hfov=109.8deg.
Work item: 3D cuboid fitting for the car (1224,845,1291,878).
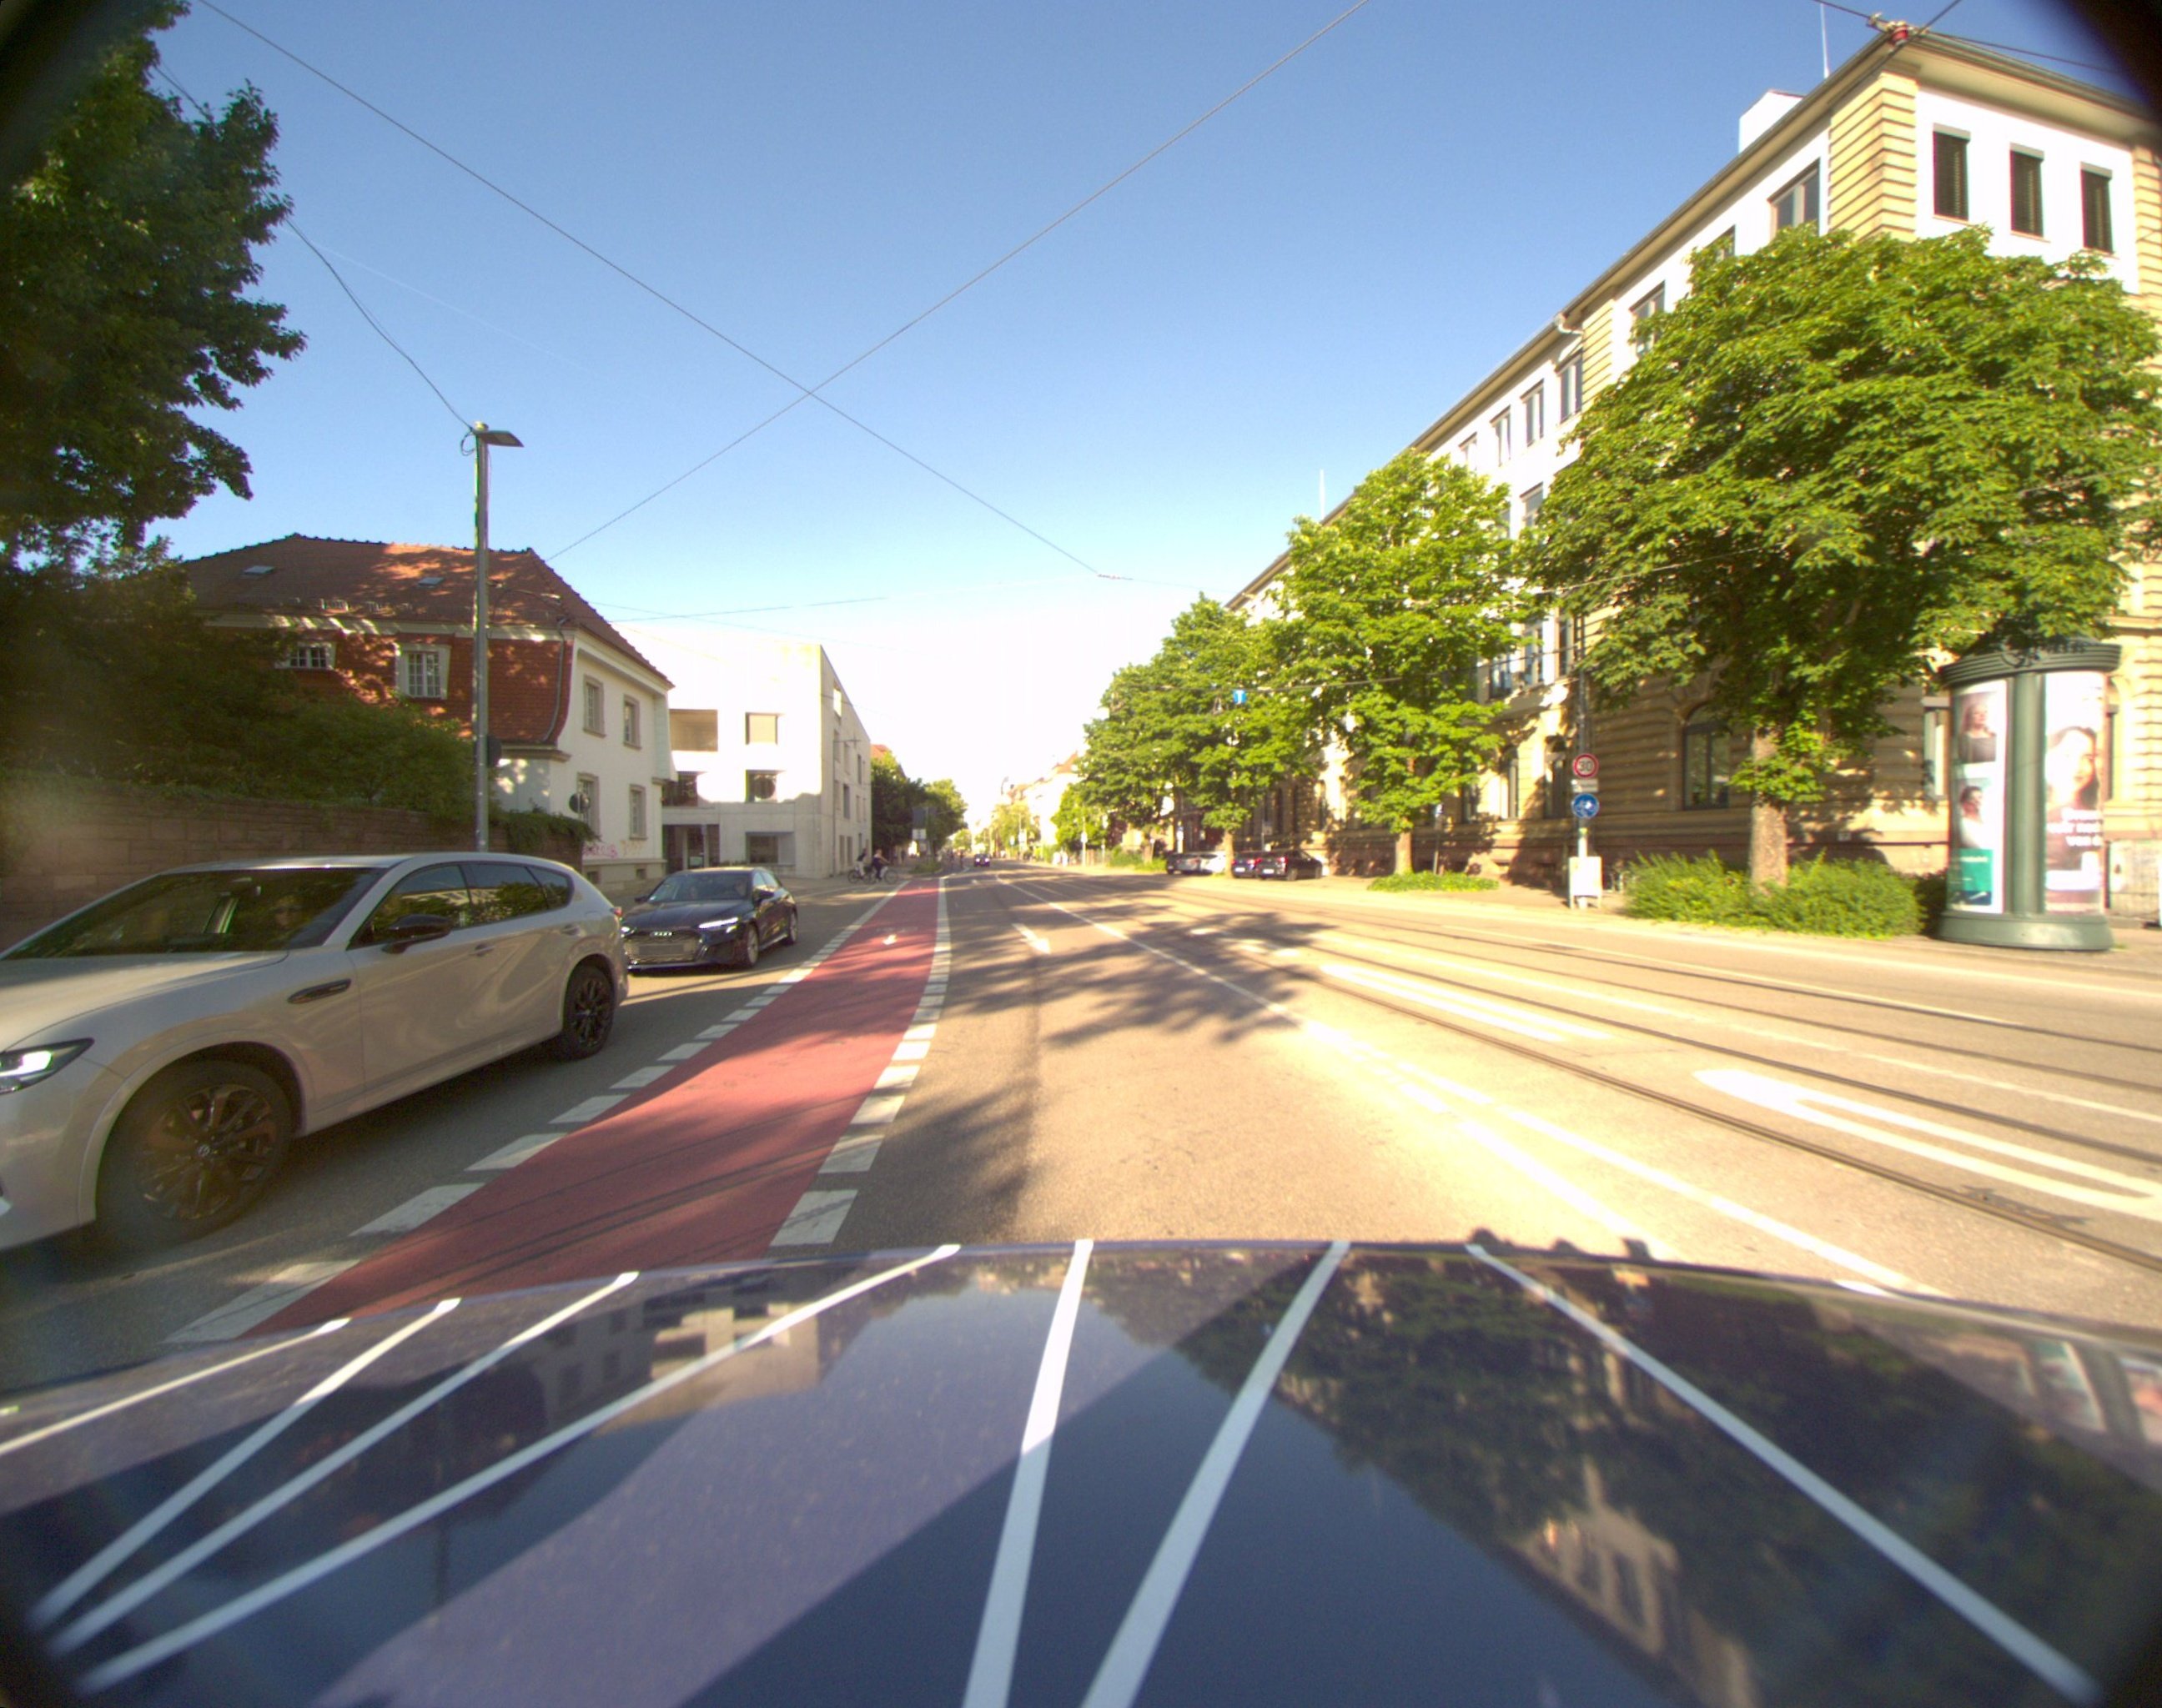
[{"bbox_3d":[9.419,0.384,40.413,3.657,1.552,1.645,-3,1,-43],"label":"car"}]

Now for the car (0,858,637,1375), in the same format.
[{"bbox_3d":[-4.806,0.935,4.472,1.946,1.682,4.529,-2,1,-5],"label":"car"}]

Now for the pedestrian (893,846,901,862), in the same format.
[{"bbox_3d":[-18.955,0.001,78.303,0.676,1.638,0.817,-1,1,-9],"label":"pedestrian"}]

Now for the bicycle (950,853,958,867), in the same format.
[{"bbox_3d":[-12.124,0.563,72.454,0.676,1.243,2.454,0,1,-8],"label":"bicycle"}]

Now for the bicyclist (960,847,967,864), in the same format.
[{"bbox_3d":[-11.174,0.132,72.181,0.676,1.638,1.028,0,1,-8],"label":"bicyclist"}]

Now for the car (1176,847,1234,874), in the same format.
[{"bbox_3d":[7.911,0.382,48.359,3.657,1.552,1.645,-3,1,-43],"label":"car"}]

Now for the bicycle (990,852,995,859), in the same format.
[{"bbox_3d":[-17.748,0.290,152.996,0.676,1.243,2.456,-1,1,0],"label":"bicycle"}]

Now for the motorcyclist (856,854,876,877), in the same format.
[{"bbox_3d":[-12.034,0.645,42.467,0.674,1.243,0.855,1,1,44],"label":"motorcyclist"}]

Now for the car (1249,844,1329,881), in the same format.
[{"bbox_3d":[10.383,0.400,37.753,4.189,1.621,1.841,-3,1,-43],"label":"car"}]

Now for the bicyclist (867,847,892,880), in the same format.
[{"bbox_3d":[-10.136,0.466,38.300,1.031,1.638,0.674,-1,1,-37],"label":"bicyclist"}]

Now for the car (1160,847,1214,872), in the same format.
[{"bbox_3d":[7.236,0.353,51.770,3.657,1.552,1.645,-3,1,-43],"label":"car"}]

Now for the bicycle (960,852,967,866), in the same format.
[{"bbox_3d":[-11.166,0.441,72.156,0.676,1.243,2.454,0,1,-8],"label":"bicycle"}]

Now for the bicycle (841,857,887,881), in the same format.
[{"bbox_3d":[-12.095,0.820,42.406,0.674,1.243,2.462,1,1,44],"label":"bicycle"}]

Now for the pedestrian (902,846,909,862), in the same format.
[{"bbox_3d":[-18.097,-0.041,78.322,0.676,1.638,0.817,-1,1,-9],"label":"pedestrian"}]

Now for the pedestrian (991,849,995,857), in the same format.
[{"bbox_3d":[-17.755,-0.206,153.009,0.675,1.638,0.817,-1,1,0],"label":"pedestrian"}]

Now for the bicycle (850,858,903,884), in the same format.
[{"bbox_3d":[-10.264,0.853,38.215,2.461,1.243,0.674,-1,1,-37],"label":"bicycle"}]

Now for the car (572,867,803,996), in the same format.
[{"bbox_3d":[-5.621,0.995,11.480,1.789,1.425,3.997,-2,1,-8],"label":"car"}]

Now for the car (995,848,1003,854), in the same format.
[{"bbox_3d":[-20.776,-0.776,192.197,1.650,1.552,3.646,-2,1,-12],"label":"car"}]

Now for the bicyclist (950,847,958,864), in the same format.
[{"bbox_3d":[-12.119,0.133,72.436,0.676,1.638,1.028,0,1,-8],"label":"bicyclist"}]

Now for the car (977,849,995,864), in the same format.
[{"bbox_3d":[-10.191,0.266,81.562,1.649,1.552,3.648,-2,1,-5],"label":"car"}]

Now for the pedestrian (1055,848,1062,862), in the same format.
[{"bbox_3d":[-2.553,0.121,86.277,0.676,1.638,0.817,-1,1,-9],"label":"pedestrian"}]

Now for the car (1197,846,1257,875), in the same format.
[{"bbox_3d":[8.890,0.382,46.128,3.657,1.552,1.645,-3,1,-43],"label":"car"}]
